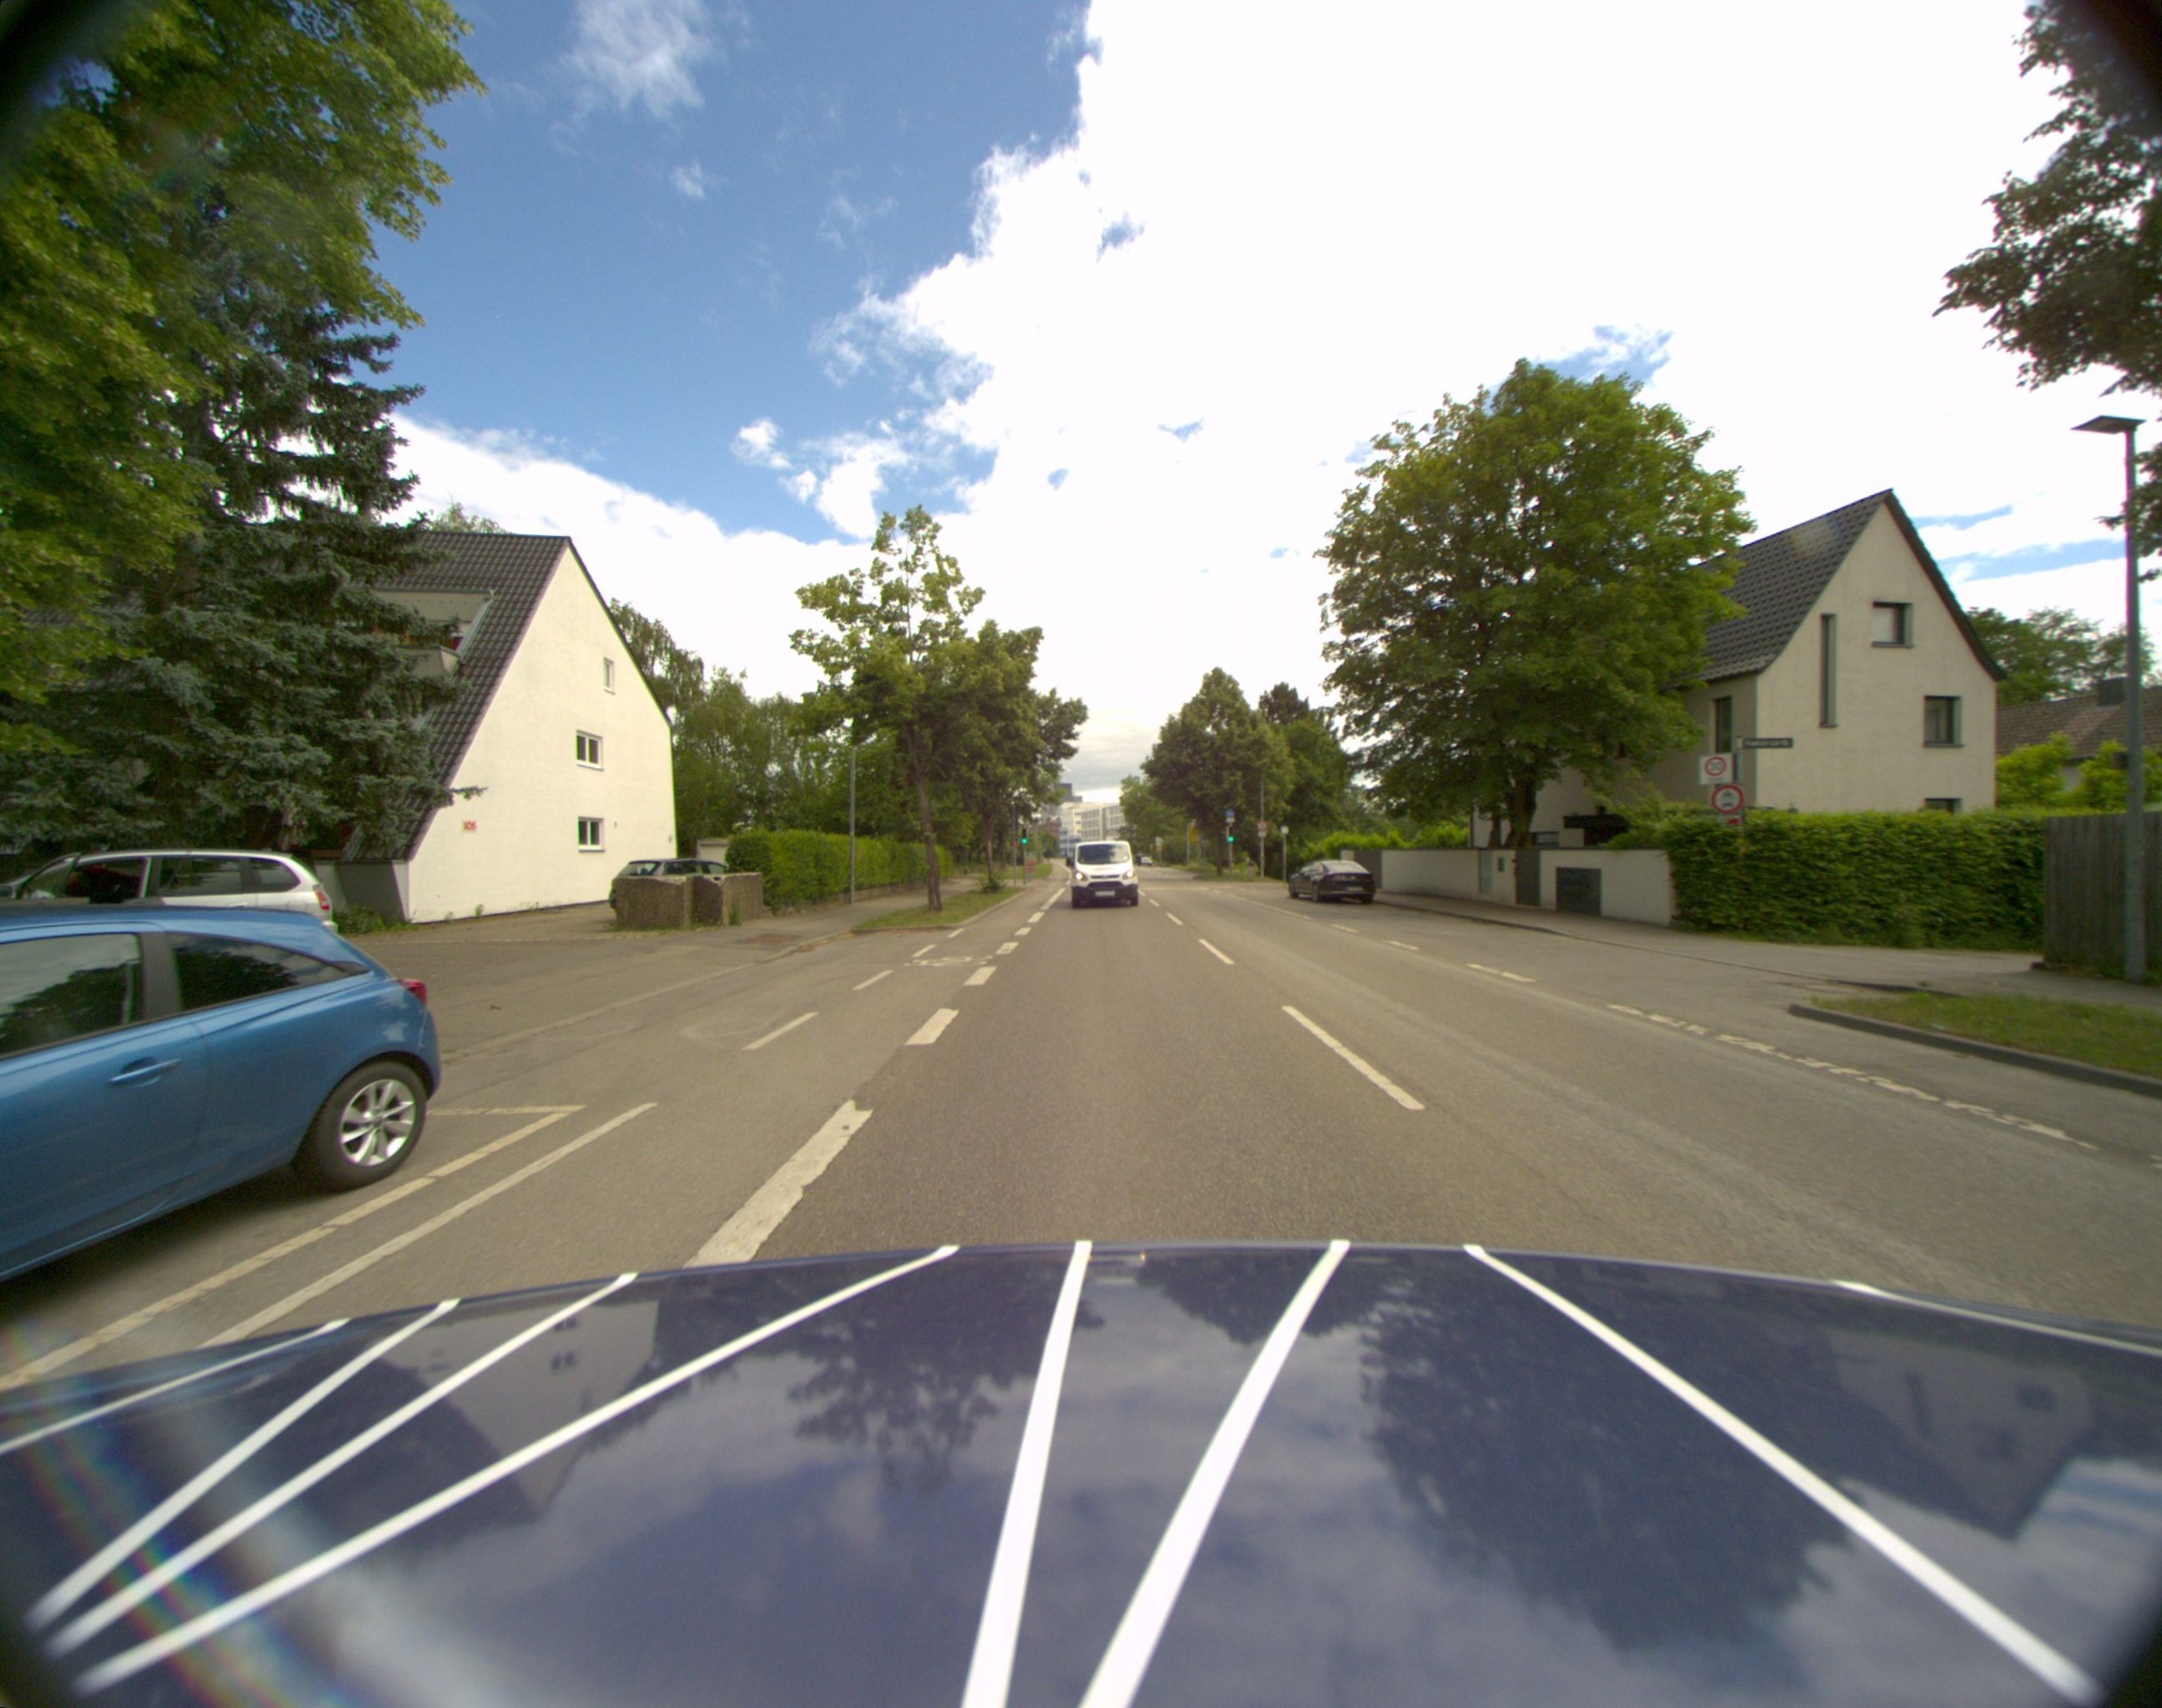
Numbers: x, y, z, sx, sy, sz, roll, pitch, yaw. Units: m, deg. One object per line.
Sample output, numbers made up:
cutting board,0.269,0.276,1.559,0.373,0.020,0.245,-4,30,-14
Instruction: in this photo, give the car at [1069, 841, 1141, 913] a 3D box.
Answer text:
car,0.737,0.627,24.214,1.998,2.002,5.188,-2,1,1

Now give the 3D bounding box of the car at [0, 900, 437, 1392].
car,-4.399,1.038,2.230,1.689,1.493,3.920,-1,1,-1

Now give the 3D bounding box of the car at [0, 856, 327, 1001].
car,-12.676,0.863,9.856,1.811,1.650,4.008,0,0,42

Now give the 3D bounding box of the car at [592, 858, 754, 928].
car,-10.148,0.906,19.110,1.647,1.559,3.225,0,0,25

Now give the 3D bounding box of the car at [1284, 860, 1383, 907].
car,8.536,0.939,26.138,1.750,1.400,4.927,1,0,0

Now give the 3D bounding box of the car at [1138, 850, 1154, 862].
car,8.789,0.258,103.335,1.787,1.622,3.999,0,0,-1
